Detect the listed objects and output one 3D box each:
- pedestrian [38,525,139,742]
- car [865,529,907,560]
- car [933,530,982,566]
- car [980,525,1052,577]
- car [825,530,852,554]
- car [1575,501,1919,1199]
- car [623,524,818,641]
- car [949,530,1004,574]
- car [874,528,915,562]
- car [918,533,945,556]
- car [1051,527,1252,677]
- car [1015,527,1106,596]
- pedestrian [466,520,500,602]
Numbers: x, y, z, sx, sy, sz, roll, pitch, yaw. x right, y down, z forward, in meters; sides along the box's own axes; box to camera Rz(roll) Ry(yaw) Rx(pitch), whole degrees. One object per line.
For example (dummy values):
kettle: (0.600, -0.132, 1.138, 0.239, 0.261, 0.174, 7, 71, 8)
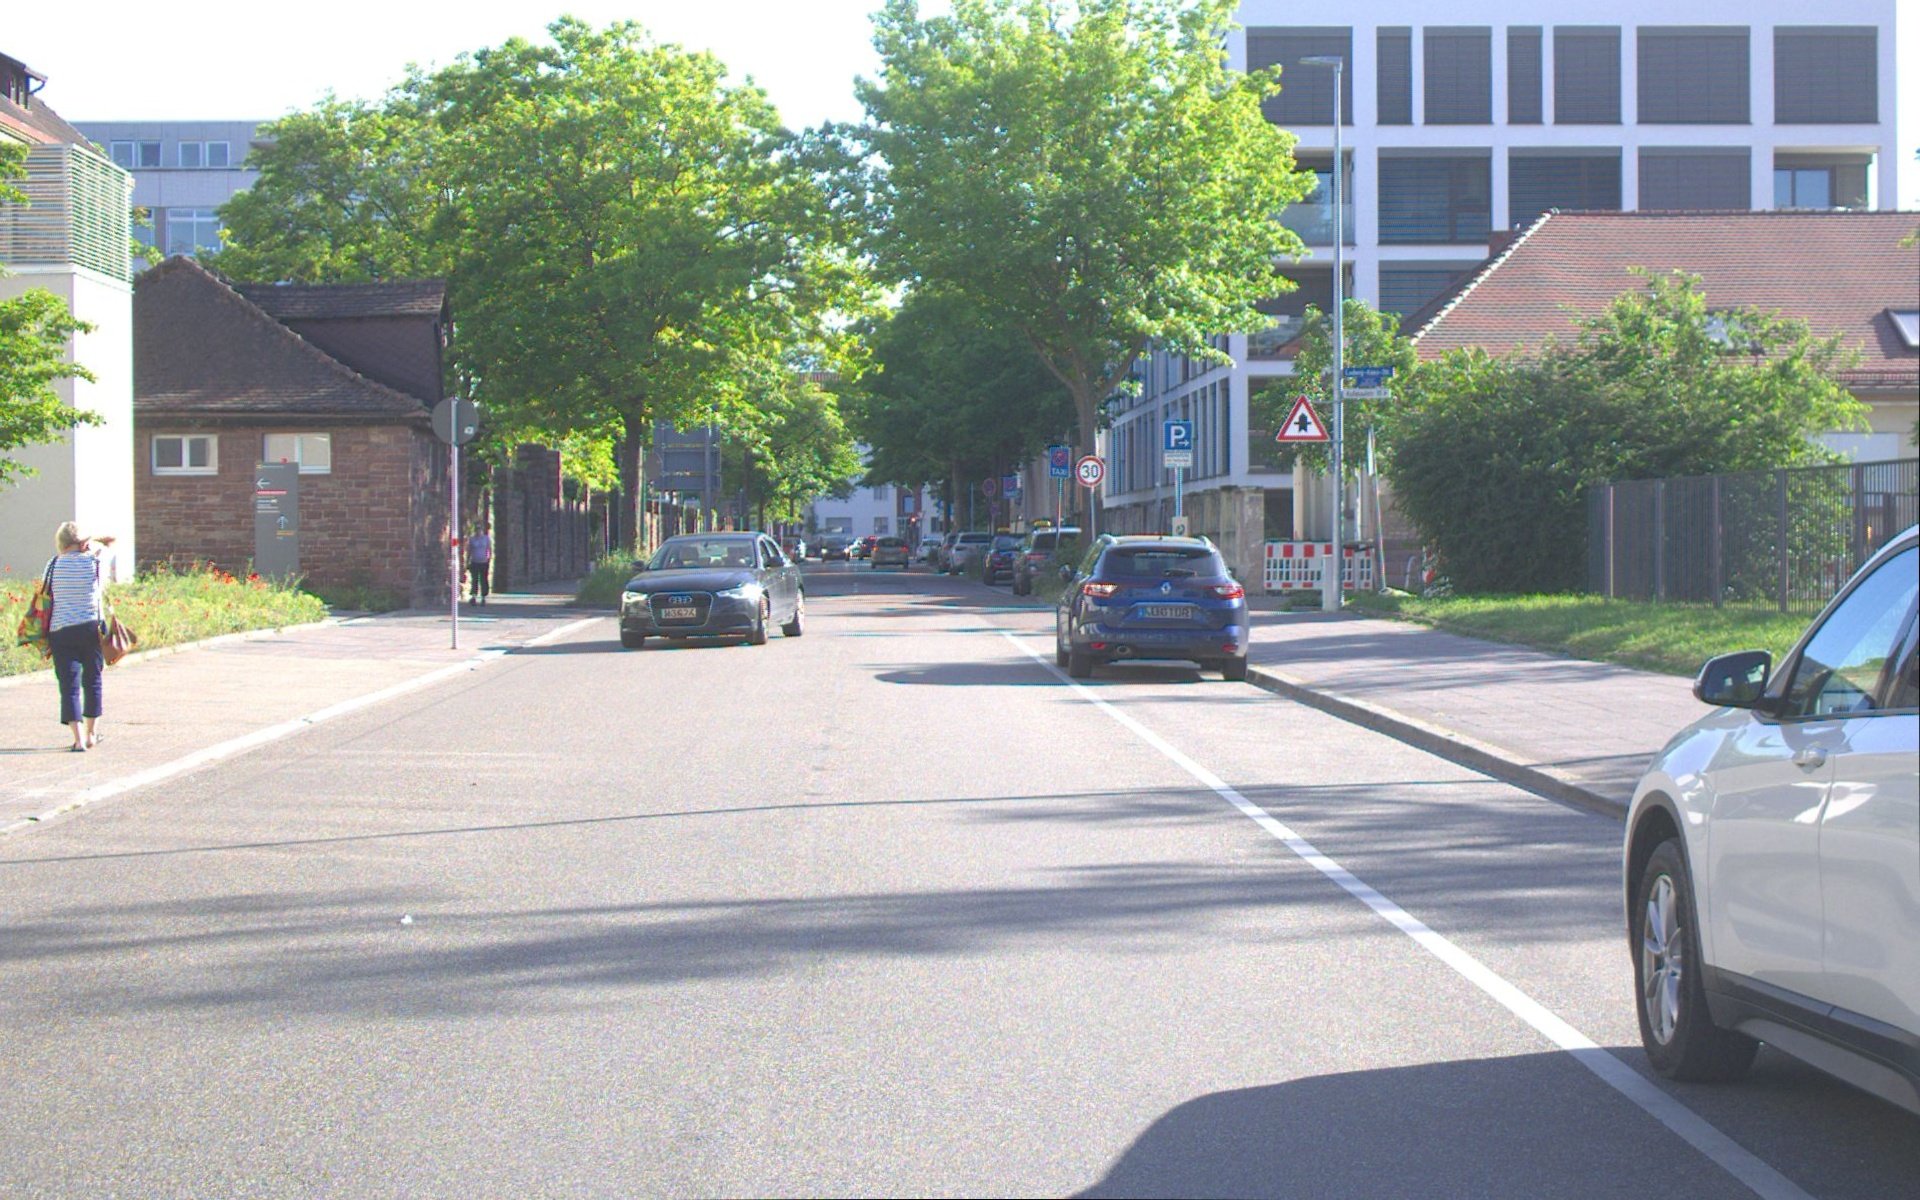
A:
pedestrian: (-6.175, 0.229, 24.385, 0.538, 1.518, 0.607, -1, 1, 0)
car: (-3.384, -2.571, 157.828, 1.889, 1.395, 3.837, 0, 1, -1)
car: (-0.124, -2.156, 141.825, 1.993, 1.460, 3.837, 0, 1, -1)
car: (1.564, -1.393, 96.988, 1.767, 1.435, 4.001, 0, 1, -3)
car: (-7.751, -3.731, 219.665, 1.653, 1.525, 4.000, 0, 1, -2)
car: (2.866, 0.582, 8.093, 1.812, 1.583, 4.263, 1, 1, -3)
car: (-3.101, -0.270, 45.413, 1.762, 1.437, 4.537, -1, 1, 7)
car: (0.575, -1.775, 125.758, 1.950, 1.573, 3.837, 0, 1, -1)
car: (-3.003, -2.519, 157.605, 1.767, 1.543, 4.066, 0, 1, -3)
car: (-1.735, -3.335, 206.934, 1.585, 1.395, 3.837, 0, 1, -1)
car: (1.939, -0.026, 35.968, 1.817, 1.448, 4.214, -1, 1, 0)
car: (2.175, -0.869, 75.482, 1.703, 1.463, 4.789, 0, 1, -2)
pedestrian: (-9.088, -0.752, 65.545, 0.521, 1.557, 1.096, 0, 1, -2)
